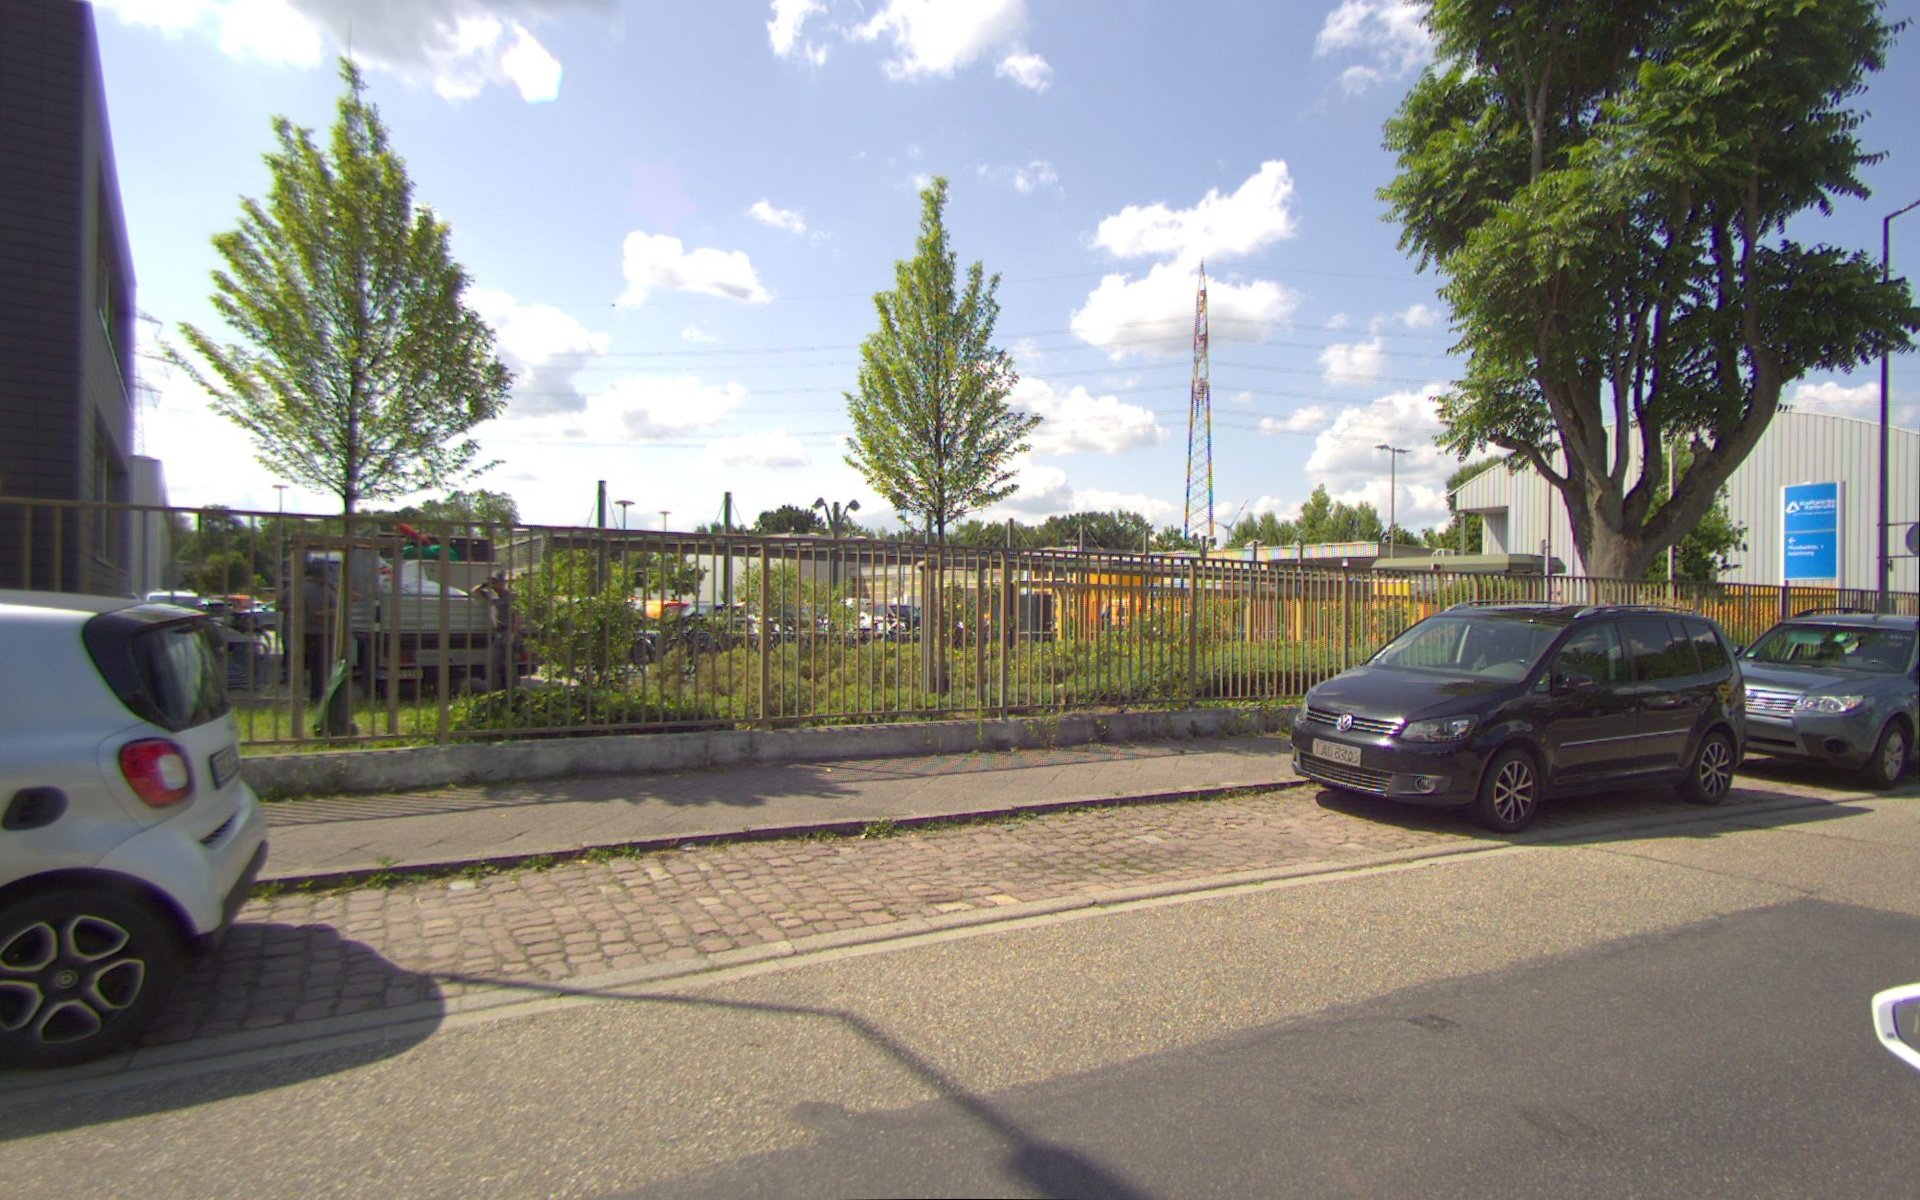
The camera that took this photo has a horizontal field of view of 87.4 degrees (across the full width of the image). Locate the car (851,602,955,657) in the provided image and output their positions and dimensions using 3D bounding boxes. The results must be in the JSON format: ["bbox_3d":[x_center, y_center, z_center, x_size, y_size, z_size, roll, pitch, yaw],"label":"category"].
[{"bbox_3d":[-2.099,1.010,36.172,1.744,1.749,4.028,1,1,-38],"label":"car"}]

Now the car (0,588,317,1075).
[{"bbox_3d":[-4.097,0.714,3.477,3.038,1.543,1.601,1,0,-30],"label":"car"}]

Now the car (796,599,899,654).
[{"bbox_3d":[-3.962,0.883,35.032,1.733,1.711,3.955,1,1,-38],"label":"car"}]

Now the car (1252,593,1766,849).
[{"bbox_3d":[4.700,0.857,8.521,4.176,1.705,1.769,1,1,-27],"label":"car"}]

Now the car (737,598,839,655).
[{"bbox_3d":[-5.796,0.843,33.487,1.732,1.711,3.958,1,1,-37],"label":"car"}]

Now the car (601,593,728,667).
[{"bbox_3d":[-7.554,0.755,25.491,1.733,1.711,3.956,1,-2,-39],"label":"car"}]

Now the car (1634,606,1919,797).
[{"bbox_3d":[9.606,0.967,10.878,4.629,1.673,1.792,1,0,-27],"label":"car"}]

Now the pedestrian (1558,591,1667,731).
[{"bbox_3d":[8.657,0.786,13.340,0.832,1.785,0.827,1,1,-20],"label":"pedestrian"}]

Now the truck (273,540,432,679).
[{"bbox_3d":[-14.026,0.202,22.942,2.383,2.693,6.861,1,-1,-37],"label":"truck"}]

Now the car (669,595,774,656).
[{"bbox_3d":[-7.654,0.768,31.967,1.733,1.711,3.955,1,1,-38],"label":"car"}]

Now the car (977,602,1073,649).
[{"bbox_3d":[2.634,1.018,41.607,1.733,1.711,3.955,1,1,-38],"label":"car"}]
